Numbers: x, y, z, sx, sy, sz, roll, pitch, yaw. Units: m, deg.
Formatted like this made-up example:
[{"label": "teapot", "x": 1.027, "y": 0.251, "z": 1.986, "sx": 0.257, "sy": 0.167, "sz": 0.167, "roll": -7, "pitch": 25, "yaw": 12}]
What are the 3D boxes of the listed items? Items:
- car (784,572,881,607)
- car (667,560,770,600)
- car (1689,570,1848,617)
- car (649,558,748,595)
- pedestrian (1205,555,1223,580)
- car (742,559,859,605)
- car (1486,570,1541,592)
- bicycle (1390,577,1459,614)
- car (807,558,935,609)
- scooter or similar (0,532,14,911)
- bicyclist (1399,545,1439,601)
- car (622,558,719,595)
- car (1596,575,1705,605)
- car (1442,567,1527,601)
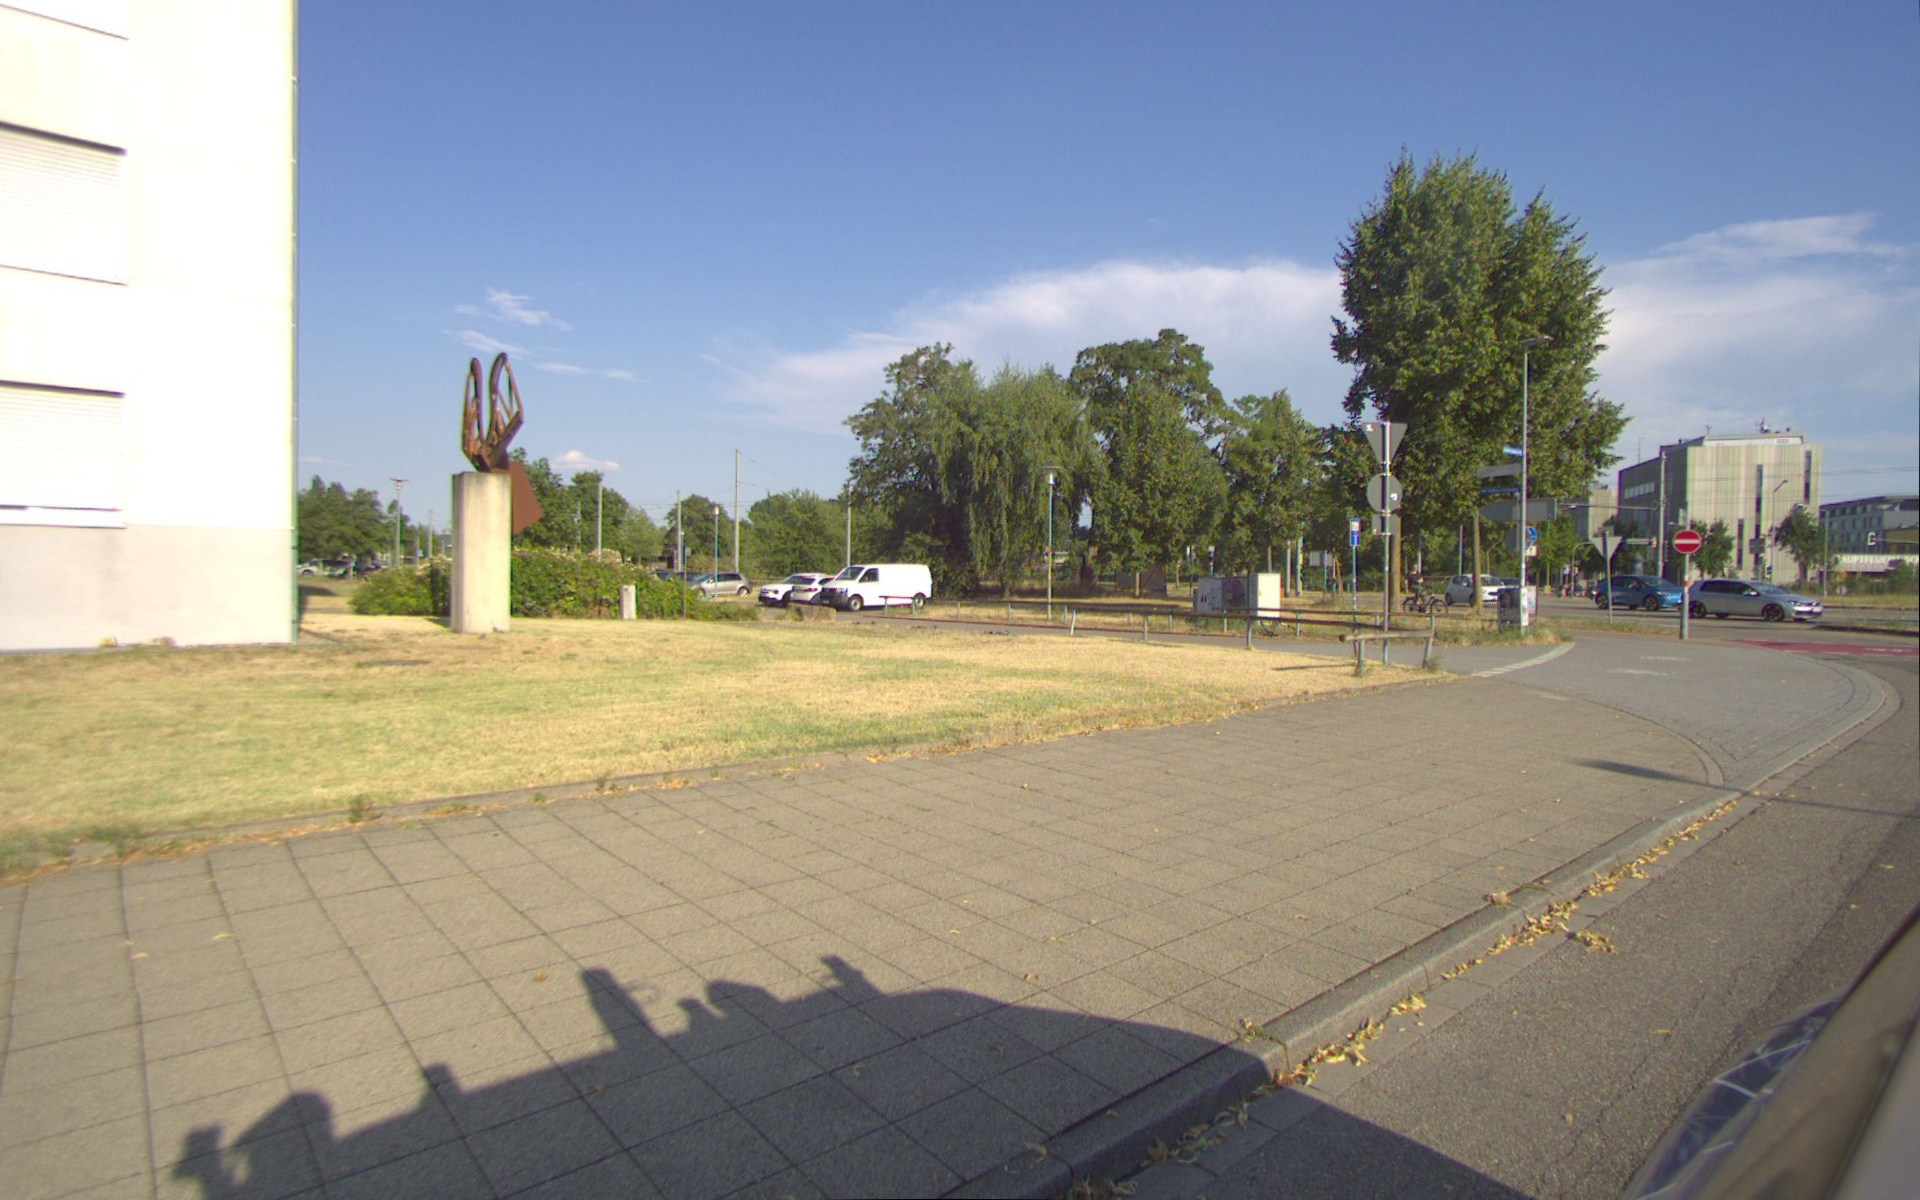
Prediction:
[{"label": "car", "x": -5.609, "y": -0.497, "z": 44.711, "sx": 3.931, "sy": 1.461, "sz": 1.868, "roll": -1, "pitch": 2, "yaw": -41}, {"label": "car", "x": -13.002, "y": -1.106, "z": 54.732, "sx": 4.970, "sy": 2.038, "sz": 2.266, "roll": -1, "pitch": 2, "yaw": -41}, {"label": "car", "x": 29.022, "y": -0.274, "z": 36.458, "sx": 1.958, "sy": 1.542, "sz": 4.008, "roll": 0, "pitch": 2, "yaw": -25}, {"label": "car", "x": -14.699, "y": -1.343, "z": 57.020, "sx": 4.970, "sy": 2.038, "sz": 2.266, "roll": -1, "pitch": 2, "yaw": -41}, {"label": "pedestrian", "x": 14.793, "y": -1.866, "z": 58.884, "sx": 0.755, "sy": 1.408, "sz": 0.651, "roll": 0, "pitch": 3, "yaw": -45}, {"label": "car", "x": -7.408, "y": -0.879, "z": 47.205, "sx": 4.970, "sy": 2.038, "sz": 2.266, "roll": -1, "pitch": 2, "yaw": -41}, {"label": "car", "x": 37.435, "y": -1.273, "z": 68.426, "sx": 2.089, "sy": 1.401, "sz": 4.516, "roll": 2, "pitch": 2, "yaw": 45}, {"label": "bicycle", "x": 15.159, "y": -0.175, "z": 33.108, "sx": 0.627, "sy": 1.137, "sz": 2.129, "roll": 0, "pitch": 2, "yaw": -25}, {"label": "car", "x": -3.735, "y": -0.759, "z": 43.155, "sx": 5.129, "sy": 2.038, "sz": 2.266, "roll": -2, "pitch": 3, "yaw": -41}, {"label": "scooter or similar", "x": -4.073, "y": 0.439, "z": 3.261, "sx": 1.437, "sy": 1.307, "sz": 0.560, "roll": -2, "pitch": 7, "yaw": -41}, {"label": "bicyclist", "x": 15.092, "y": -0.894, "z": 33.276, "sx": 0.713, "sy": 1.823, "sz": 0.940, "roll": 0, "pitch": 1, "yaw": -26}, {"label": "car", "x": -16.782, "y": -1.404, "z": 58.828, "sx": 4.970, "sy": 2.038, "sz": 2.266, "roll": -1, "pitch": 2, "yaw": -41}, {"label": "car", "x": 30.286, "y": -0.478, "z": 44.541, "sx": 1.611, "sy": 1.193, "sz": 4.007, "roll": 1, "pitch": 2, "yaw": -9}, {"label": "car", "x": 25.937, "y": -0.832, "z": 50.177, "sx": 1.874, "sy": 1.570, "sz": 4.052, "roll": 1, "pitch": 2, "yaw": -4}]
